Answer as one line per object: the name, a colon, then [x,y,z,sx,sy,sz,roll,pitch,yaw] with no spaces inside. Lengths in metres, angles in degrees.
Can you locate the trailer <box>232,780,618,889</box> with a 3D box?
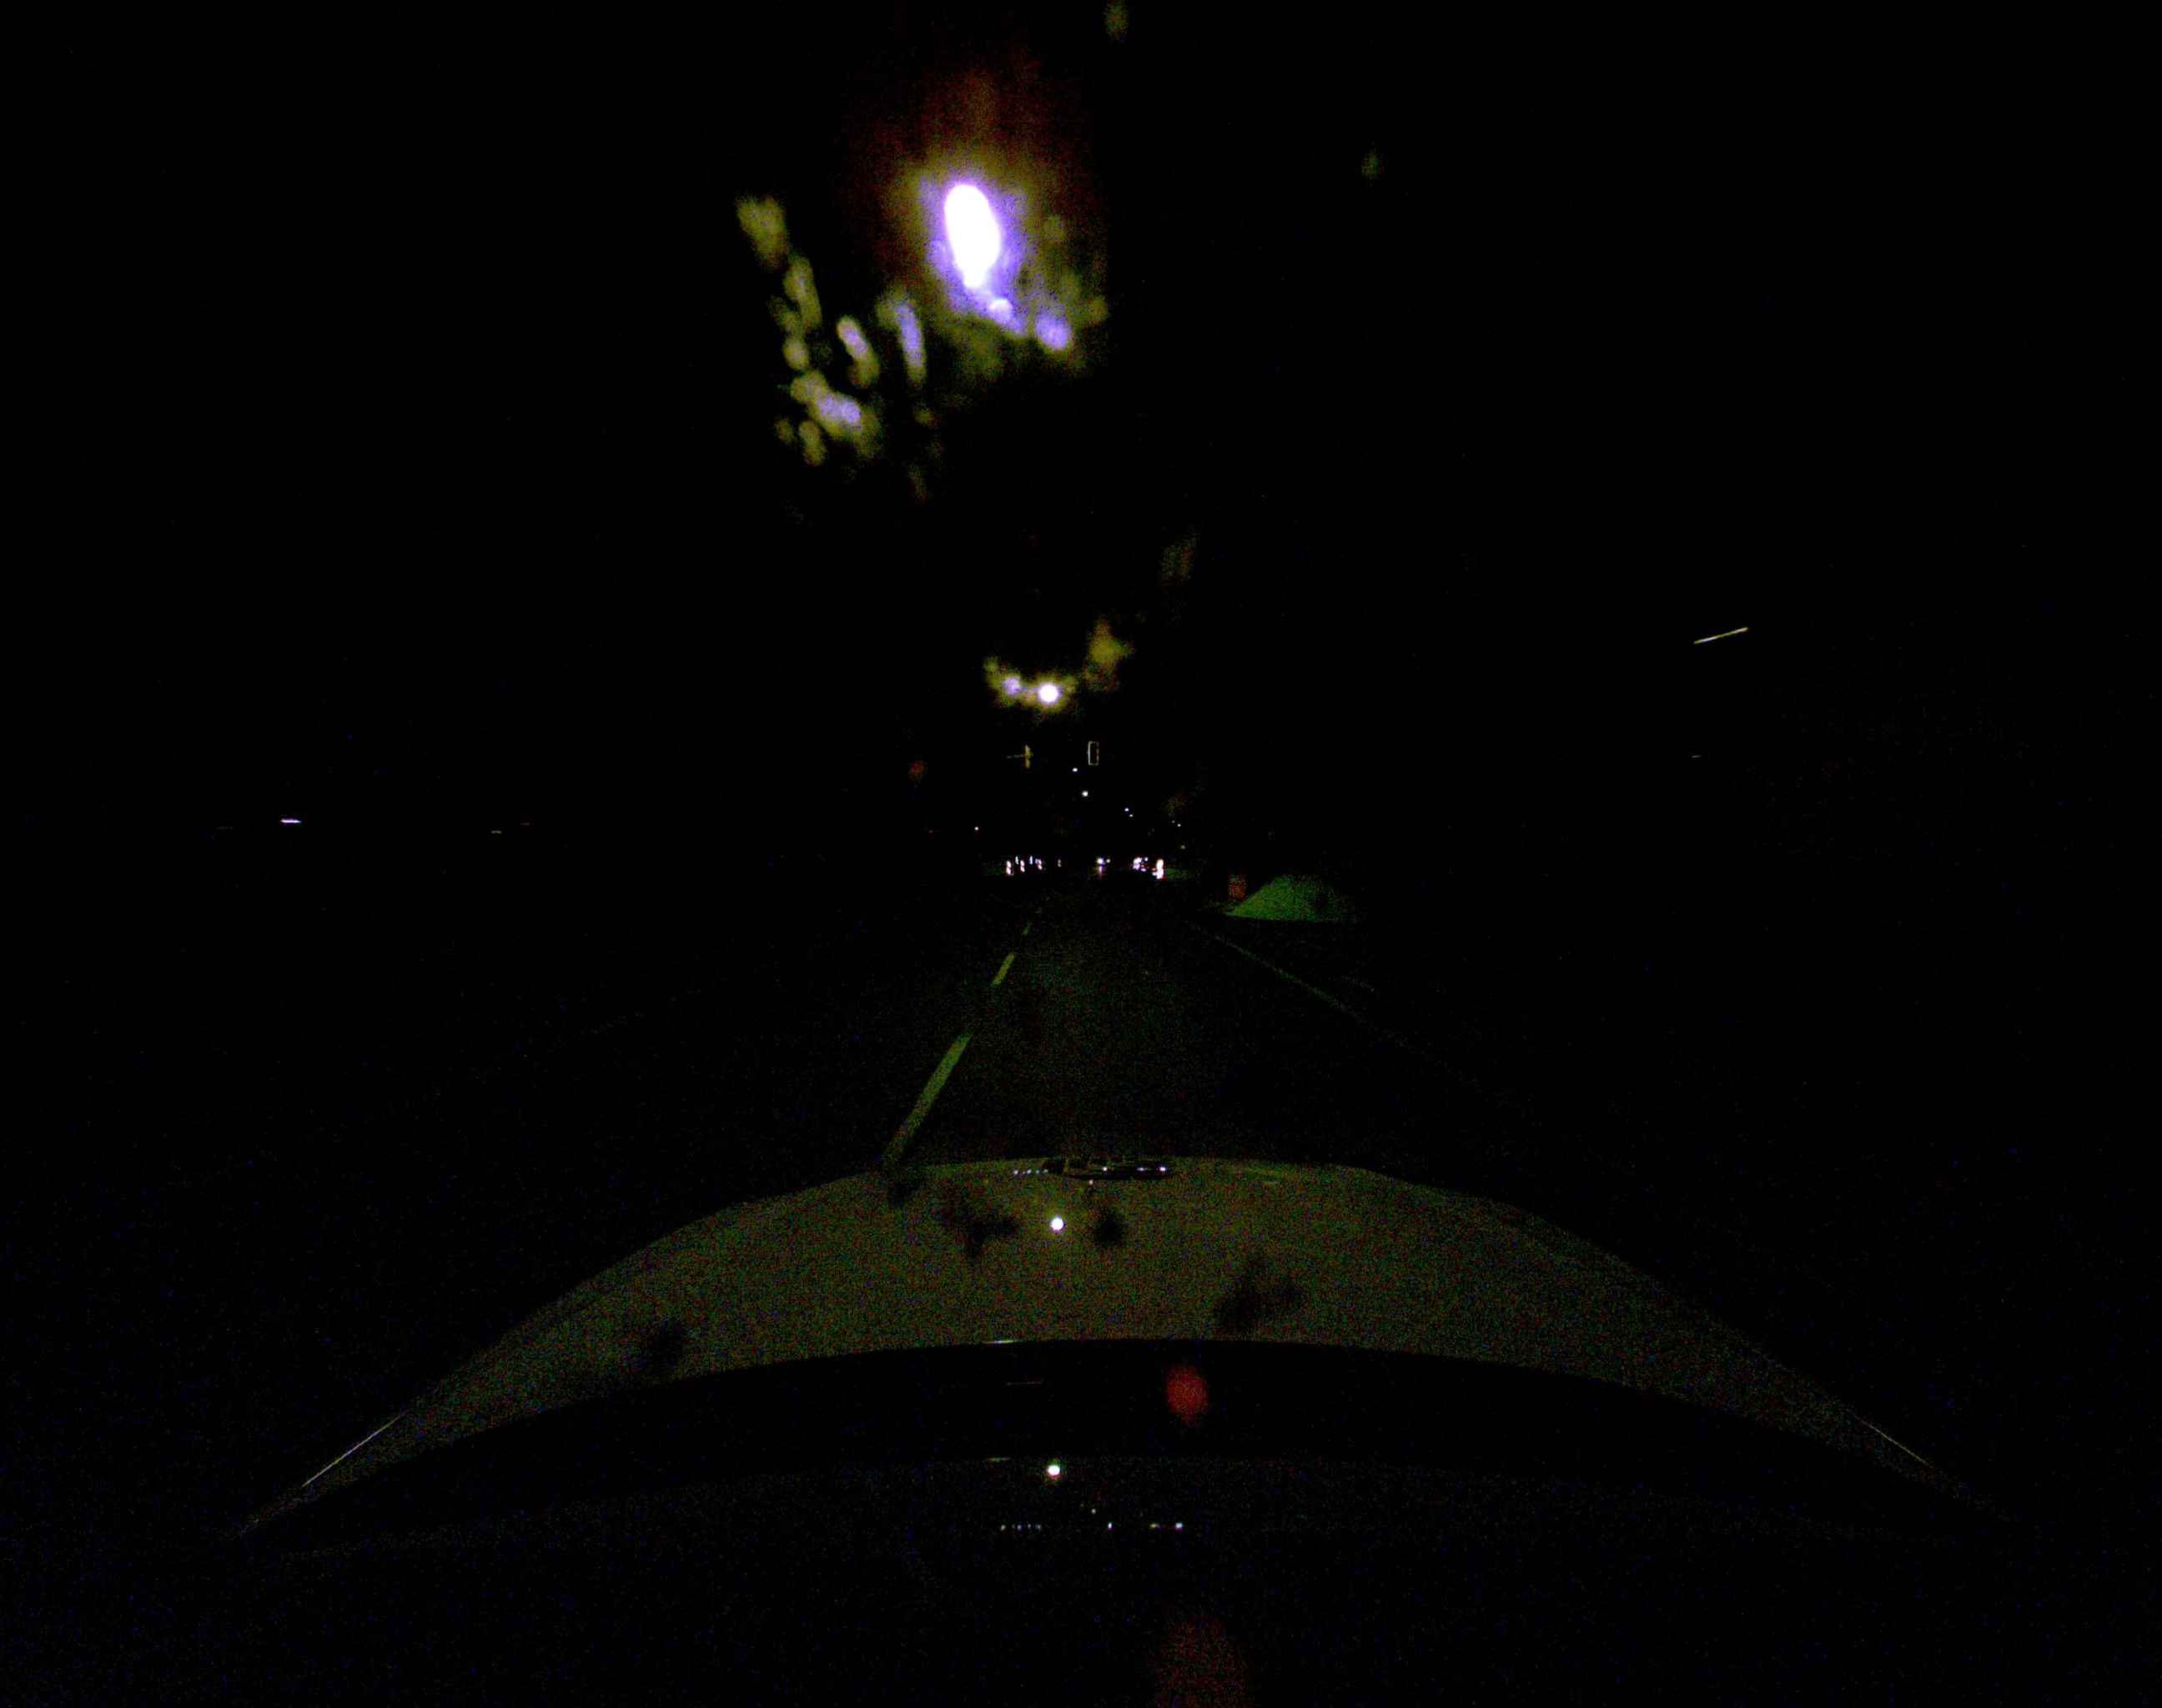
trailer: [-30.576,-0.754,39.864,3.032,4.357,15.082,1,0,22]

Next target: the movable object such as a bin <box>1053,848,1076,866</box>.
movable object such as a bin: [-2.171,0.377,108.390,1.979,2.376,4.719,-1,0,13]

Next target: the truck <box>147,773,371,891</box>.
truck: [-33.260,-0.807,33.231,3.032,4.357,5.595,1,0,22]

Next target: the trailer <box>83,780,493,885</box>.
trailer: [-38.624,-0.878,41.379,3.033,4.357,15.075,1,0,19]

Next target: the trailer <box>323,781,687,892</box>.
trailer: [-26.534,-0.669,39.529,3.031,4.357,15.082,1,0,22]

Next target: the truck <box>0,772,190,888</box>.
truck: [-41.373,-0.918,33.463,3.033,4.357,5.593,1,0,19]

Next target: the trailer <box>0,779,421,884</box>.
trailer: [-42.867,-0.936,41.400,3.033,4.357,15.075,1,0,19]

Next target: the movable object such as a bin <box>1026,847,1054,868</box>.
movable object such as a bin: [-4.855,0.363,96.009,1.979,2.376,4.719,-1,0,13]

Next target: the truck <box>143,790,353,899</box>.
truck: [-36.191,-0.384,35.667,3.033,4.357,5.593,1,0,19]

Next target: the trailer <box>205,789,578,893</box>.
trailer: [-33.985,-0.538,41.931,3.033,4.357,15.076,1,0,19]

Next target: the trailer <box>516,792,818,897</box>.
trailer: [-18.207,-0.353,38.318,3.034,3.932,15.068,1,0,17]

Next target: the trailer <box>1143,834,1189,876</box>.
trailer: [6.019,0.084,58.222,2.607,2.846,4.705,1,-1,-2]

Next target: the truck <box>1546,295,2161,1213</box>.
truck: [5.818,-0.426,2.774,2.745,3.783,10.227,-1,-1,1]

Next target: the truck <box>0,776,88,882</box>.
truck: [-45.661,-1.040,33.333,3.033,4.357,5.593,1,0,19]

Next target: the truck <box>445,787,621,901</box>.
truck: [-20.495,-0.366,30.754,3.035,3.932,4.522,1,0,16]

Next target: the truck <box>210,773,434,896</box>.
truck: [-29.581,-0.700,32.031,3.031,4.357,5.596,1,0,22]

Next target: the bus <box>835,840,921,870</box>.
bus: [-22.834,0.048,92.877,2.988,3.204,12.734,-1,0,19]

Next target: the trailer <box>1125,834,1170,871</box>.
trailer: [5.898,-0.079,73.046,3.472,3.219,4.860,1,-1,-2]

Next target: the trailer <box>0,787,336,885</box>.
trailer: [-47.675,-0.796,41.147,3.033,4.357,15.075,1,0,19]

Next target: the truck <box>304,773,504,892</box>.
truck: [-25.744,-0.751,31.223,3.031,4.148,4.963,1,0,23]

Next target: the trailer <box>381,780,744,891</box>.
trailer: [-22.800,-0.662,37.999,3.031,4.148,15.085,1,0,23]

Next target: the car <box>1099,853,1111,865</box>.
car: [3.352,0.666,113.958,1.690,1.576,2.958,-3,0,1]
